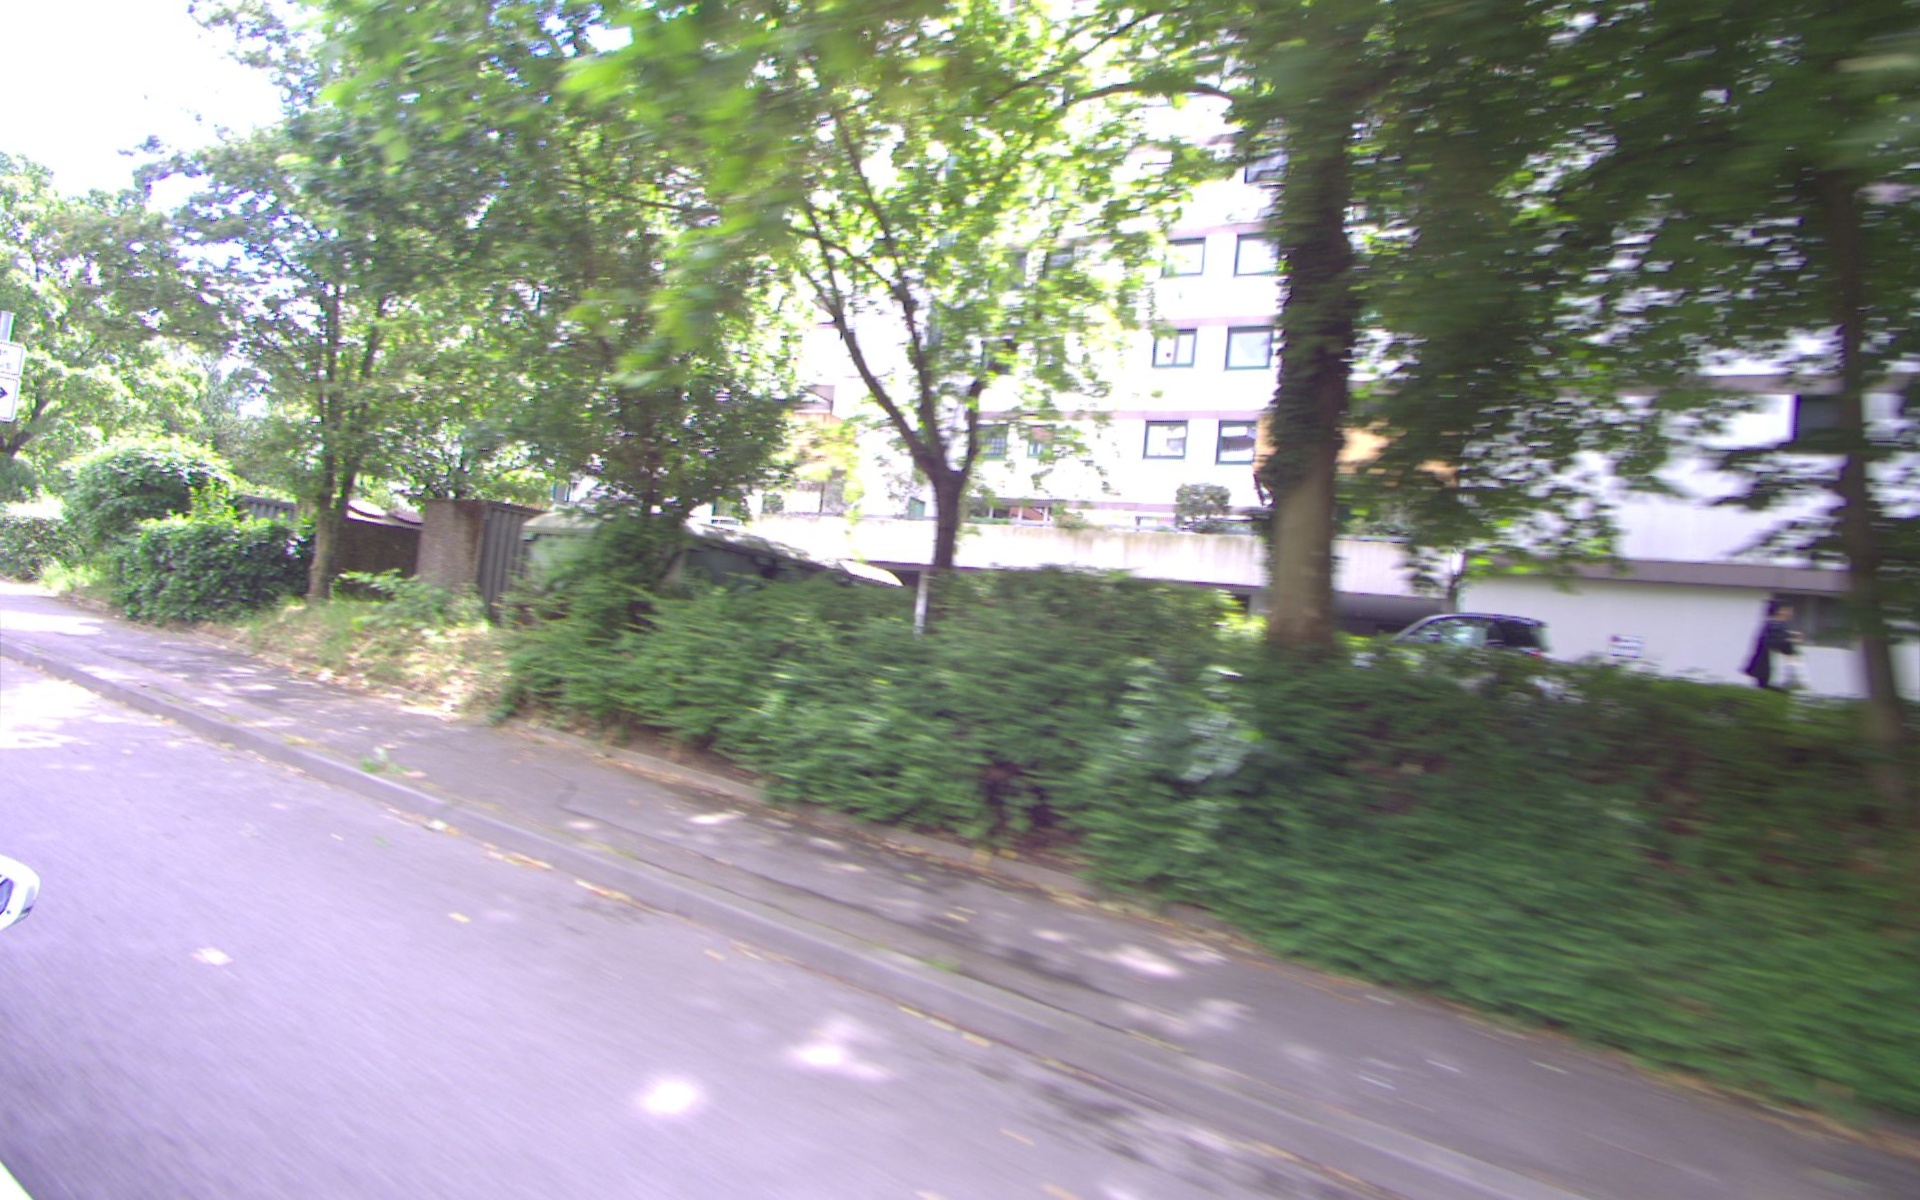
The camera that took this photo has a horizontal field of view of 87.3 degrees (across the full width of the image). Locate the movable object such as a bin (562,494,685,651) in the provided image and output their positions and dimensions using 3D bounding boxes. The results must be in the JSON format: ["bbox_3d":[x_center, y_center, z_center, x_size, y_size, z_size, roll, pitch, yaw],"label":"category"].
[{"bbox_3d":[-3.505,-0.285,10.497,0.859,1.495,0.665,7,-1,34],"label":"movable object such as a bin"}]

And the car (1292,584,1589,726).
[{"bbox_3d":[6.752,0.743,14.234,3.490,1.477,1.660,7,-1,33],"label":"car"}]

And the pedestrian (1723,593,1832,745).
[{"bbox_3d":[9.577,0.808,11.818,0.755,1.652,0.669,7,0,31],"label":"pedestrian"}]

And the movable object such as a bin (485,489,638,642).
[{"bbox_3d":[-4.413,-0.383,11.148,1.281,1.495,0.799,7,-1,31],"label":"movable object such as a bin"}]
